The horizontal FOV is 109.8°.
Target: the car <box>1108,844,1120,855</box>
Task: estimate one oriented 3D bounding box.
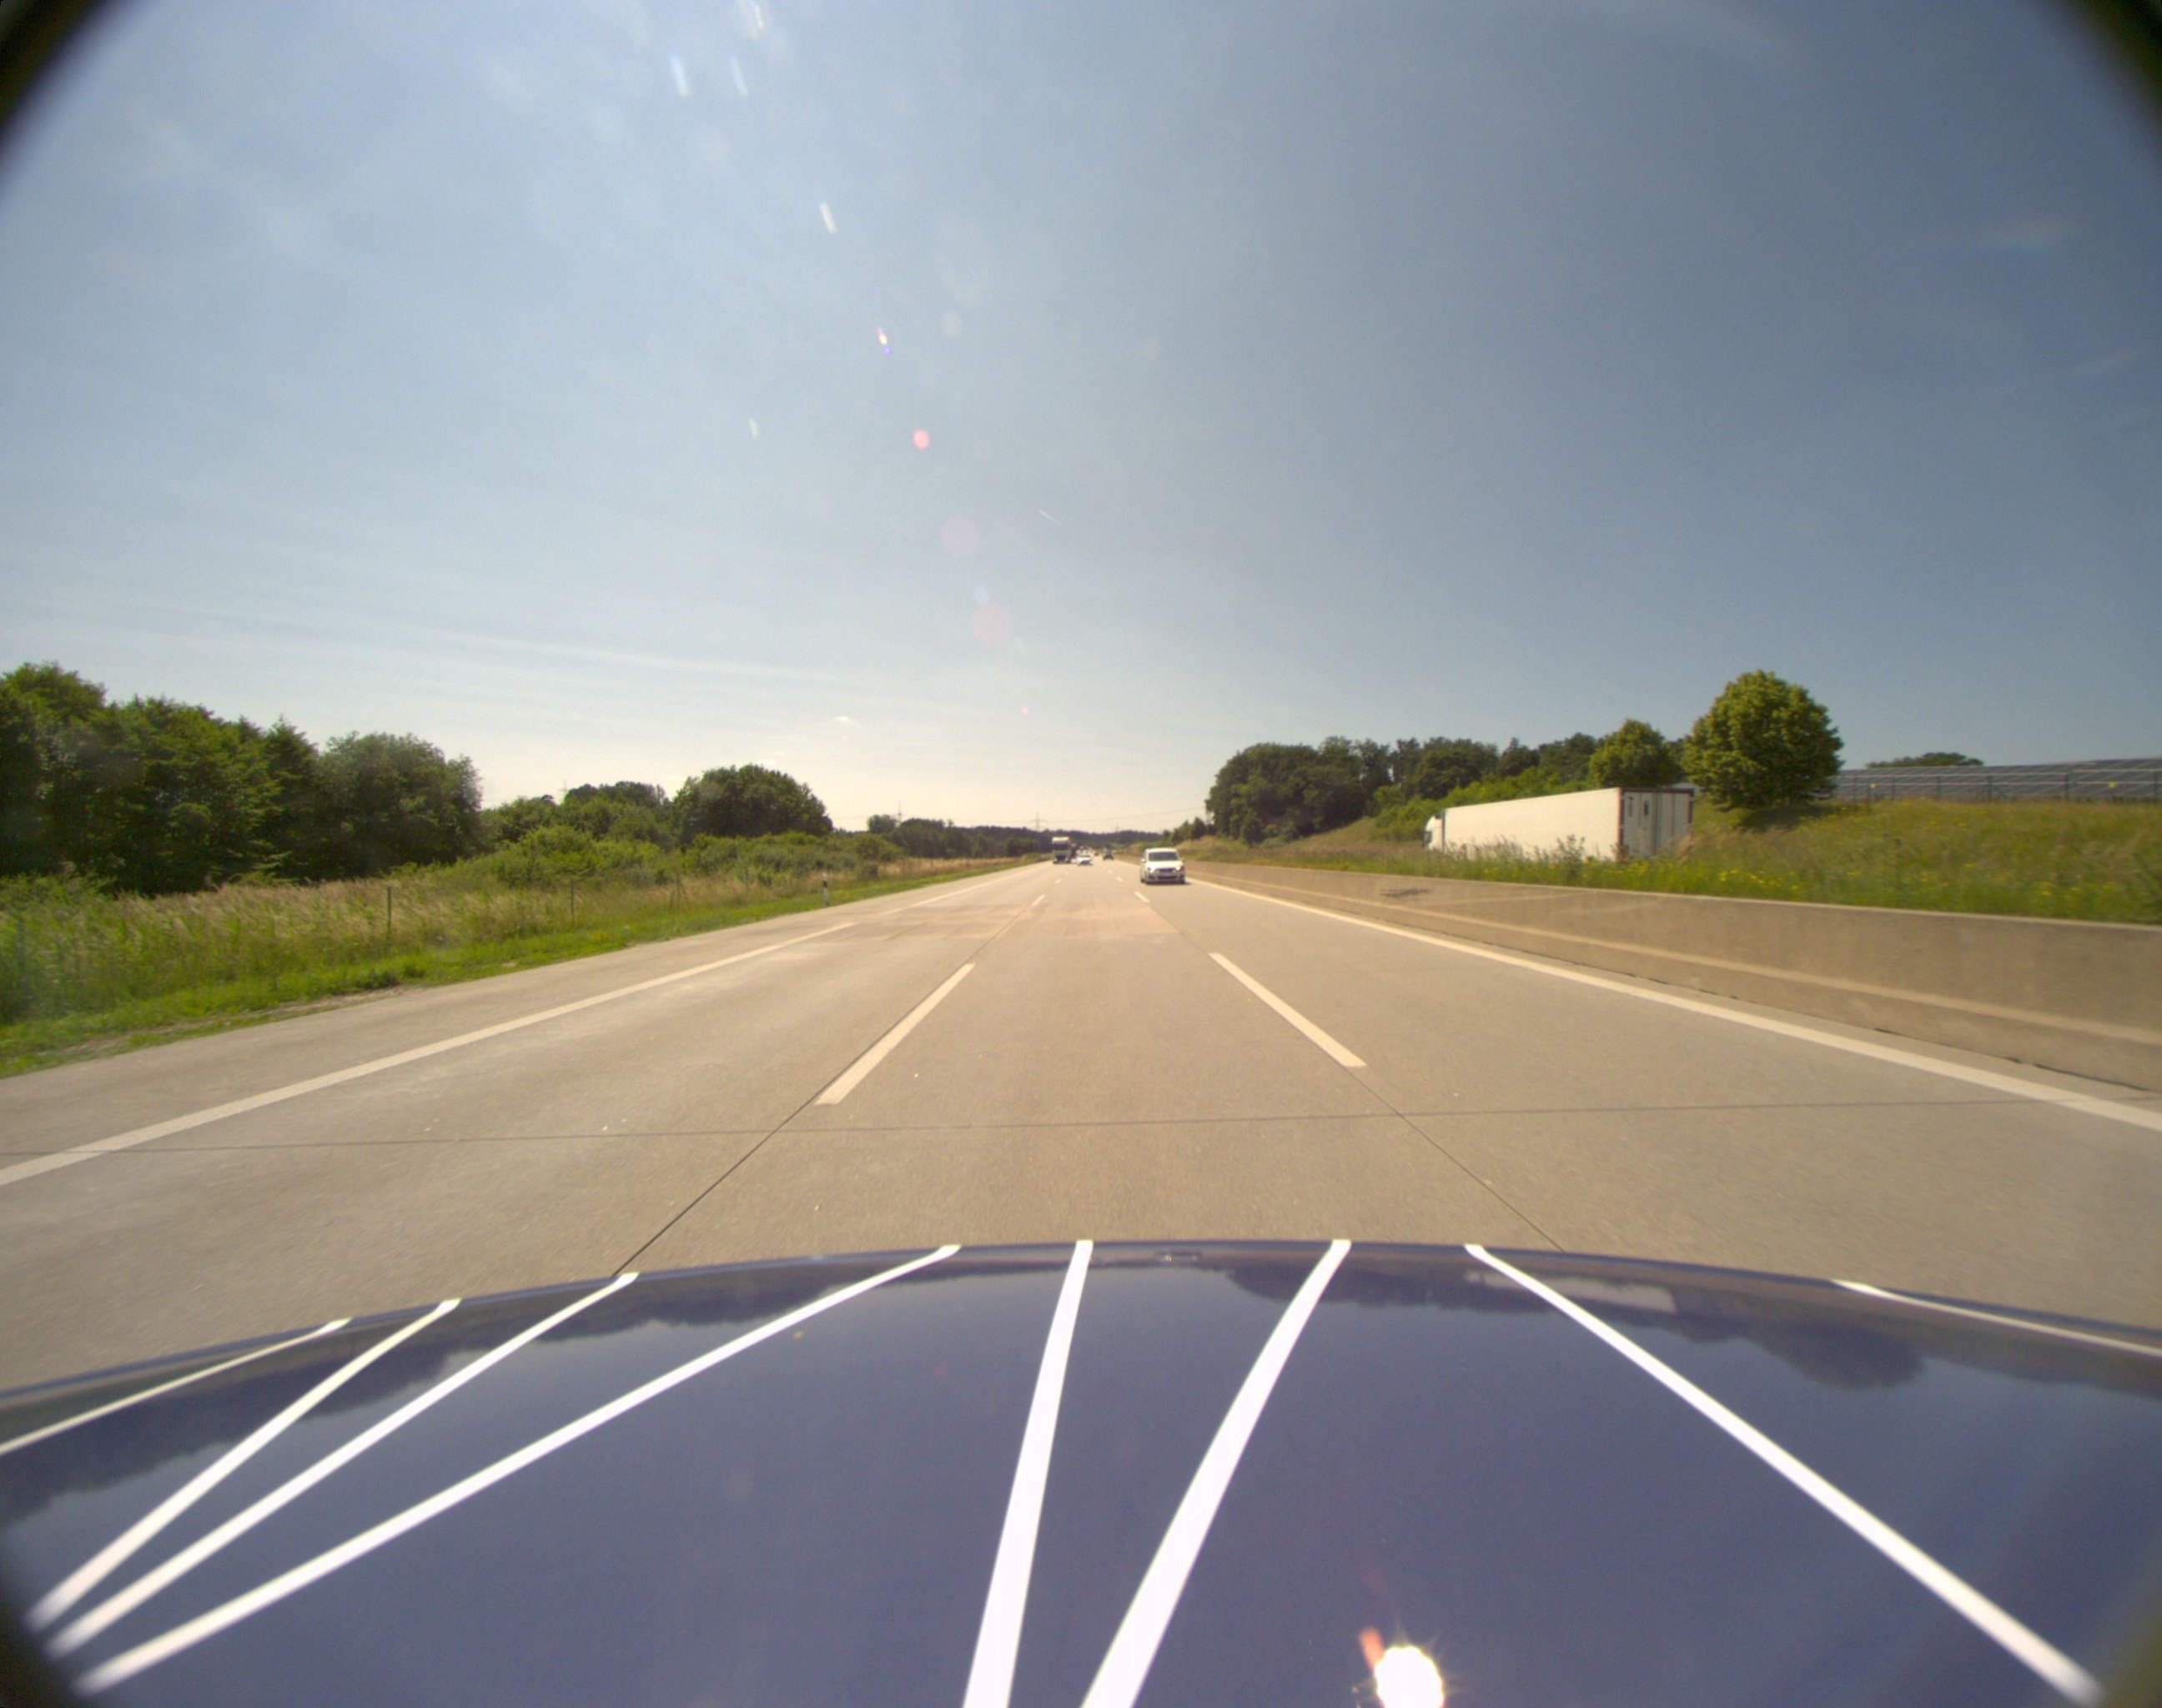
[{"bbox_3d":[6.203,-0.898,143.546,1.998,1.836,6.529,-3,1,1],"label":"car"}]

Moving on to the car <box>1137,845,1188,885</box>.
[{"bbox_3d":[3.871,0.453,37.180,1.850,1.698,6.035,-2,1,1],"label":"car"}]

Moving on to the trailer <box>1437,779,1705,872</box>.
[{"bbox_3d":[20.742,-1.125,34.165,2.839,3.165,14.504,-3,1,1],"label":"trailer"}]

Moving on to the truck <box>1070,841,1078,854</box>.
[{"bbox_3d":[-1.918,-1.700,210.011,2.351,3.474,5.245,-1,1,0],"label":"truck"}]

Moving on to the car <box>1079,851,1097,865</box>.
[{"bbox_3d":[0.827,0.486,95.846,2.065,1.472,5.068,-5,1,0],"label":"car"}]

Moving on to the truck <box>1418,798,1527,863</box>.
[{"bbox_3d":[20.852,-1.229,40.880,2.840,3.139,5.826,-2,1,1],"label":"truck"}]

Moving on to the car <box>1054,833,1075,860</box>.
[{"bbox_3d":[-2.498,-1.172,119.671,2.766,4.029,10.851,-1,1,1],"label":"car"}]
